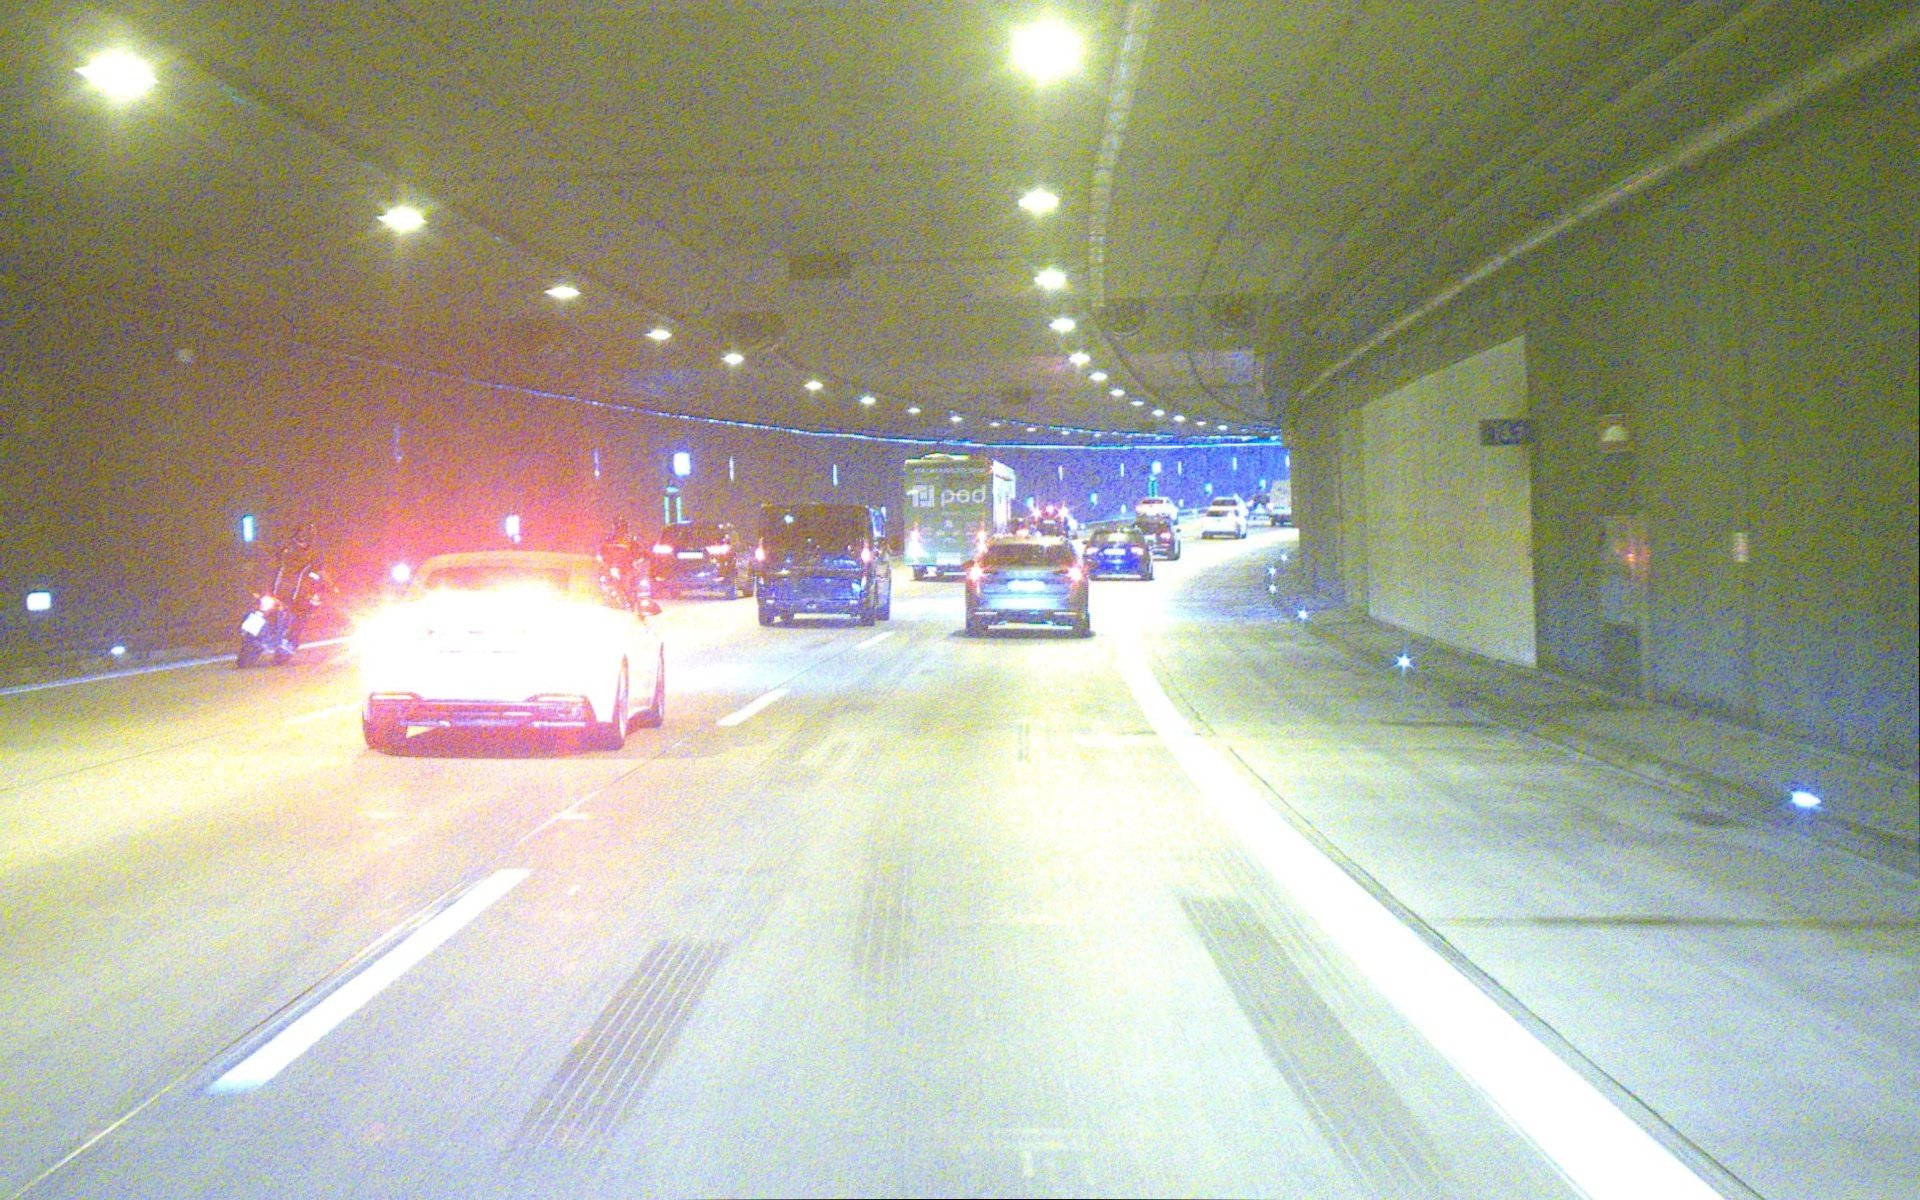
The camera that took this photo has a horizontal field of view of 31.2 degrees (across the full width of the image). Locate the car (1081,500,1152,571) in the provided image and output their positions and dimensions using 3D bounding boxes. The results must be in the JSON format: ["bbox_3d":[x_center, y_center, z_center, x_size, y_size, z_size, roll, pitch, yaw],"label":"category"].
[{"bbox_3d":[4.168,-1.706,91.467,1.857,1.848,4.000,0,1,3],"label":"car"}]

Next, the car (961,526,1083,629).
[{"bbox_3d":[0.944,-0.361,50.963,1.742,1.459,3.871,0,1,2],"label":"car"}]

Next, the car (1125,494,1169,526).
[{"bbox_3d":[10.122,-4.875,186.021,1.931,1.637,3.998,1,0,9],"label":"car"}]

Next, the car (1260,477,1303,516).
[{"bbox_3d":[17.466,-5.600,186.719,1.994,2.007,3.998,1,0,10],"label":"car"}]

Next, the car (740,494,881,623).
[{"bbox_3d":[-2.362,-0.700,55.229,1.910,1.937,3.871,0,3,3],"label":"car"}]

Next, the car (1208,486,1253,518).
[{"bbox_3d":[14.705,-5.304,186.950,1.994,1.626,3.998,1,0,11],"label":"car"}]

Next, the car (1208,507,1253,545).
[{"bbox_3d":[12.332,-3.381,156.950,1.931,1.637,4.000,1,0,3],"label":"car"}]

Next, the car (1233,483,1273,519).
[{"bbox_3d":[17.222,-5.799,201.754,1.994,2.007,3.998,1,0,9],"label":"car"}]

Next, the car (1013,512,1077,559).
[{"bbox_3d":[3.046,-2.305,122.212,1.994,1.626,3.999,1,1,6],"label":"car"}]

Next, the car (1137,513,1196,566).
[{"bbox_3d":[7.111,-2.067,118.706,1.950,1.766,4.000,1,0,3],"label":"car"}]

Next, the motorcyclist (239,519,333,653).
[{"bbox_3d":[-7.387,-0.153,37.695,0.777,1.447,1.069,1,0,2],"label":"motorcyclist"}]

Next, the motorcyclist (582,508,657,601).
[{"bbox_3d":[-5.430,-0.711,54.921,0.806,1.443,1.865,0,0,7],"label":"motorcyclist"}]

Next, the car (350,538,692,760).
[{"bbox_3d":[-3.146,0.283,25.608,1.702,1.414,5.060,0,2,2],"label":"car"}]

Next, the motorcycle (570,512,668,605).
[{"bbox_3d":[-5.420,-0.647,54.909,0.926,1.429,2.963,1,0,7],"label":"motorcycle"}]

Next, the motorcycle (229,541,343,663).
[{"bbox_3d":[-7.378,0.004,37.727,0.683,1.292,2.399,0,1,2],"label":"motorcycle"}]

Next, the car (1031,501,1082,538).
[{"bbox_3d":[4.321,-3.582,153.427,1.931,1.637,3.999,0,1,7],"label":"car"}]

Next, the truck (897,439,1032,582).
[{"bbox_3d":[0.185,-2.373,91.909,3.039,3.660,7.392,0,1,4],"label":"truck"}]

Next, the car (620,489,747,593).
[{"bbox_3d":[-5.469,-1.173,68.535,1.994,2.007,4.000,0,1,3],"label":"car"}]
